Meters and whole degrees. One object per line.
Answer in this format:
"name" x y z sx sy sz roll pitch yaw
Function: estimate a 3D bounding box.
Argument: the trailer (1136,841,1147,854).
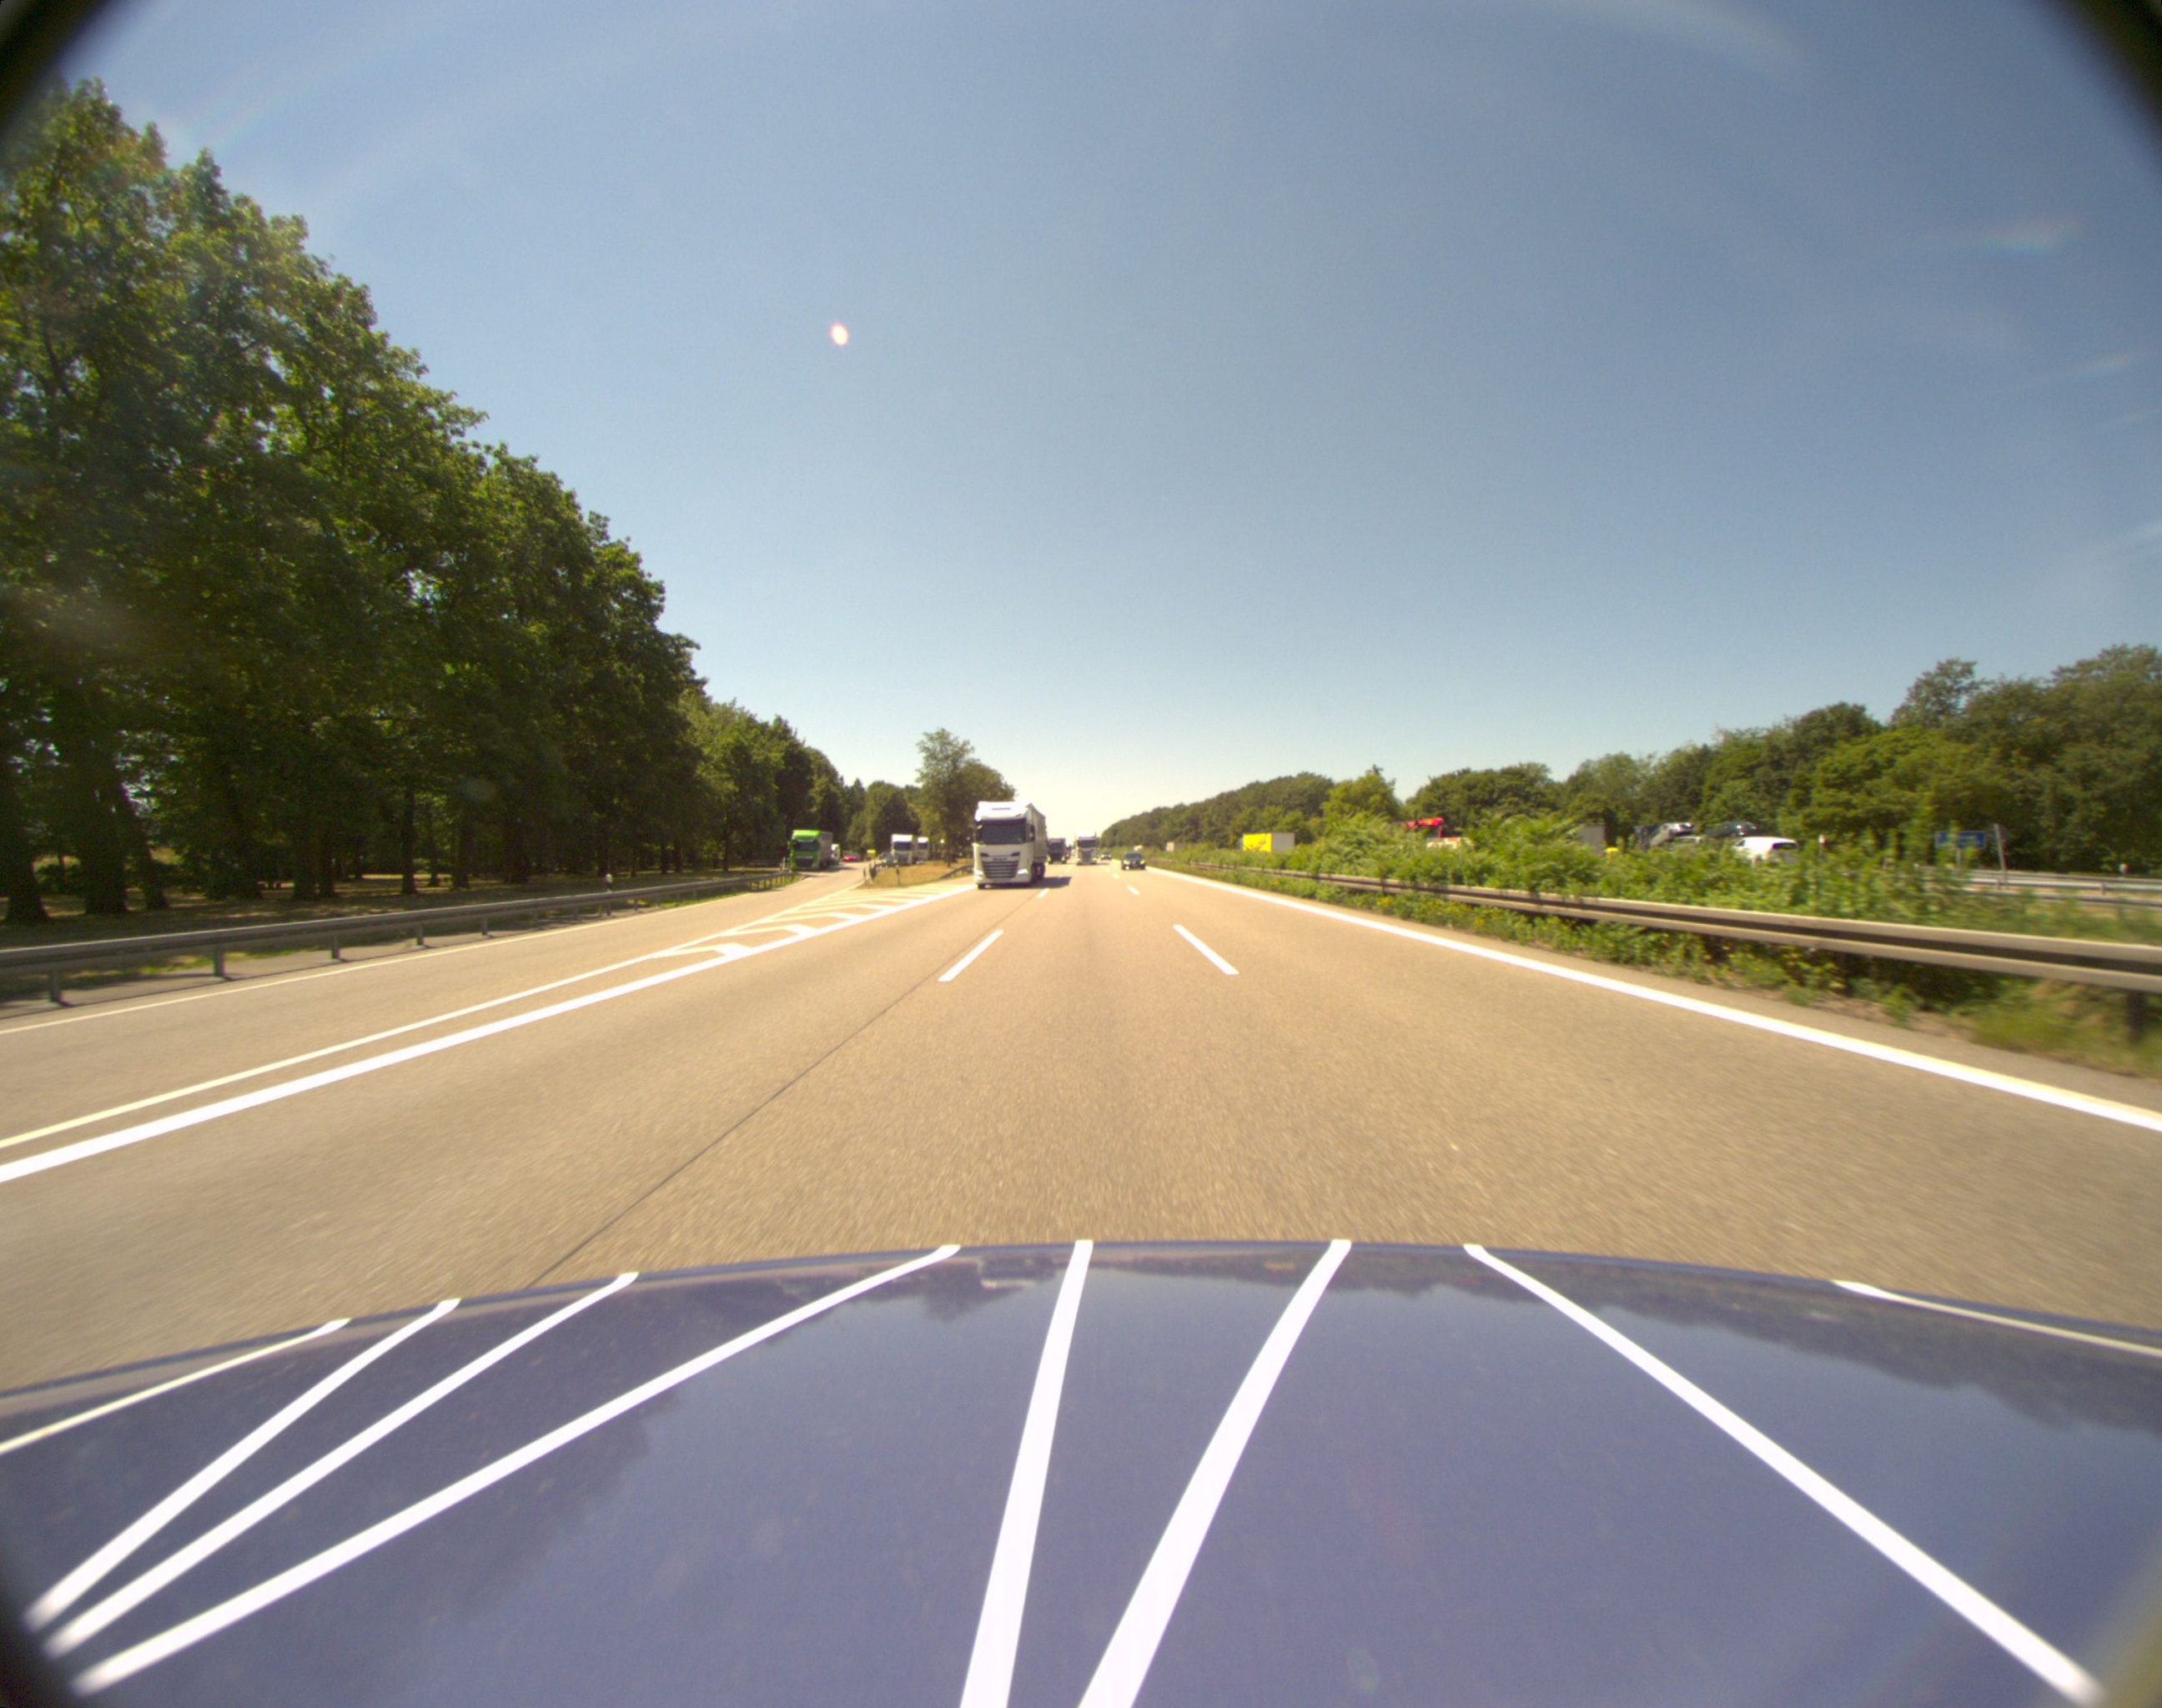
"trailer" 20.651 -2.212 258.849 2.889 4.239 10.838 0 0 0

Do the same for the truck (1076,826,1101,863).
"truck" 0.927 -1.147 93.191 2.863 4.247 5.410 -2 1 0

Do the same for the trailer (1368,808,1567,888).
"trailer" 20.786 -0.340 42.887 3.206 3.559 15.966 -2 1 1

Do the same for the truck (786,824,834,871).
"truck" -26.436 -0.606 74.456 3.395 4.234 6.609 -2 1 -12

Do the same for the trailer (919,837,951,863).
"trailer" -26.822 -0.828 140.312 3.393 4.437 18.118 -1 0 -4

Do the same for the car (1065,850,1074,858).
"car" -2.464 0.088 161.219 1.811 1.613 3.999 -2 1 0

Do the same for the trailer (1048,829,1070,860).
"trailer" -3.096 -1.368 109.236 2.863 4.247 11.469 -1 1 0

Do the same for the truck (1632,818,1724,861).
"truck" 53.468 -1.214 68.354 3.606 3.635 7.410 0 1 12

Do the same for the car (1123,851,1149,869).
"car" 4.481 0.487 62.724 1.811 1.399 4.000 -2 0 0

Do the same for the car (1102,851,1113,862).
"car" 4.717 0.470 135.379 1.806 1.774 3.999 -1 1 1

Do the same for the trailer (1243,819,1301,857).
"trailer" 21.549 -1.750 86.680 3.206 3.803 14.022 -2 1 1

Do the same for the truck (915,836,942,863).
"truck" -26.199 -0.760 130.518 3.393 4.437 8.229 -1 1 -4

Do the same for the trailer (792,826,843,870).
"trailer" -27.865 -0.618 81.025 3.395 4.233 13.130 -2 1 -12

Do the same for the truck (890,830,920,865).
"truck" -23.474 -0.817 101.686 3.395 4.437 7.382 -2 1 -10

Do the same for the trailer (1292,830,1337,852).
"trailer" 47.700 -2.659 156.057 3.612 4.239 14.014 0 0 -6

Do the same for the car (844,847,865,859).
"car" -33.038 -0.128 111.069 2.147 1.743 4.865 1 0 -7

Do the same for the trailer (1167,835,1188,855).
"trailer" 21.471 -1.931 169.565 2.910 4.247 11.487 -2 1 0

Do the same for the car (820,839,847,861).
"car" -30.851 -0.515 94.842 2.315 2.568 6.642 1 0 -10

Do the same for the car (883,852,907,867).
"car" -22.686 0.623 92.626 1.999 1.700 4.677 1 0 -3

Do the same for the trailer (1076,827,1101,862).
"trailer" 0.974 -1.214 99.565 2.863 4.247 11.470 -2 1 0

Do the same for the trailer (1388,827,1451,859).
"trailer" 51.027 -1.651 115.175 3.609 4.565 14.023 0 0 2

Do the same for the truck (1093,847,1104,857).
"truck" 4.335 -0.457 190.261 2.576 2.461 5.614 -2 1 0

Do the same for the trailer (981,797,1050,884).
"trailer" -3.594 -0.760 45.748 2.863 4.247 14.977 -2 1 0

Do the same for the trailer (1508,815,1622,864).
"trailer" 46.044 -1.374 73.122 3.222 4.112 14.055 -2 1 6

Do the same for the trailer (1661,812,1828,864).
"trailer" 51.667 -1.157 60.077 3.606 3.634 14.035 0 0 12

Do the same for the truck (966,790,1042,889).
"truck" -3.523 -0.670 36.634 2.863 4.247 6.862 -2 1 -1

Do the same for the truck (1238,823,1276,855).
"truck" 21.677 -1.828 93.860 3.206 3.803 6.394 -2 1 1

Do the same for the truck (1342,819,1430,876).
"truck" 20.919 -0.444 52.604 3.206 3.559 6.995 -2 1 1
